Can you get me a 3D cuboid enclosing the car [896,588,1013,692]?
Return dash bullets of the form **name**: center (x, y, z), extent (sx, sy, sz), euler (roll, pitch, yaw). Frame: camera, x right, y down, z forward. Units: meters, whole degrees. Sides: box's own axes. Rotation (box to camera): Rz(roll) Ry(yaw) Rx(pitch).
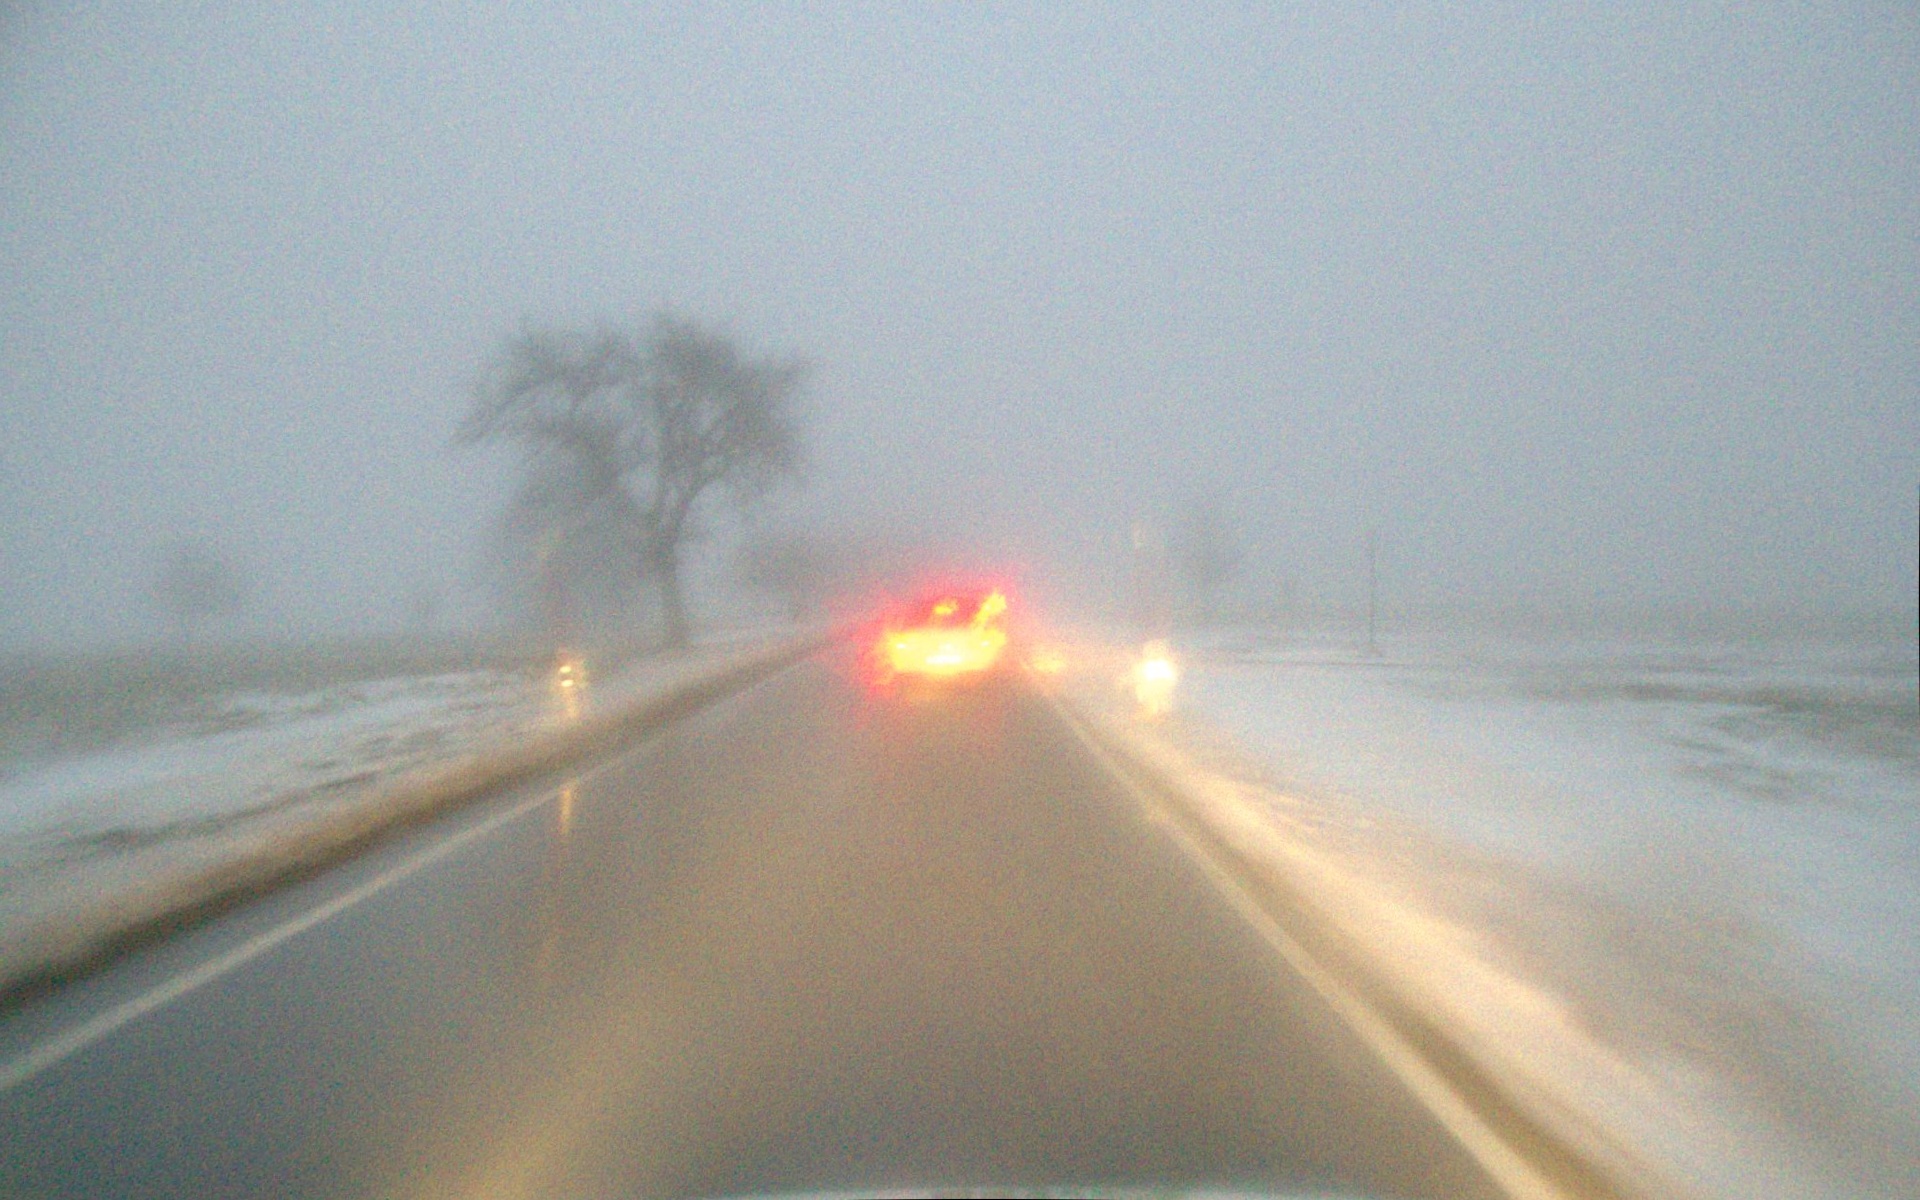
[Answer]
- **car**: center (-0.098, 0.588, 26.045), extent (1.672, 1.489, 3.999), euler (1, 0, -1)
